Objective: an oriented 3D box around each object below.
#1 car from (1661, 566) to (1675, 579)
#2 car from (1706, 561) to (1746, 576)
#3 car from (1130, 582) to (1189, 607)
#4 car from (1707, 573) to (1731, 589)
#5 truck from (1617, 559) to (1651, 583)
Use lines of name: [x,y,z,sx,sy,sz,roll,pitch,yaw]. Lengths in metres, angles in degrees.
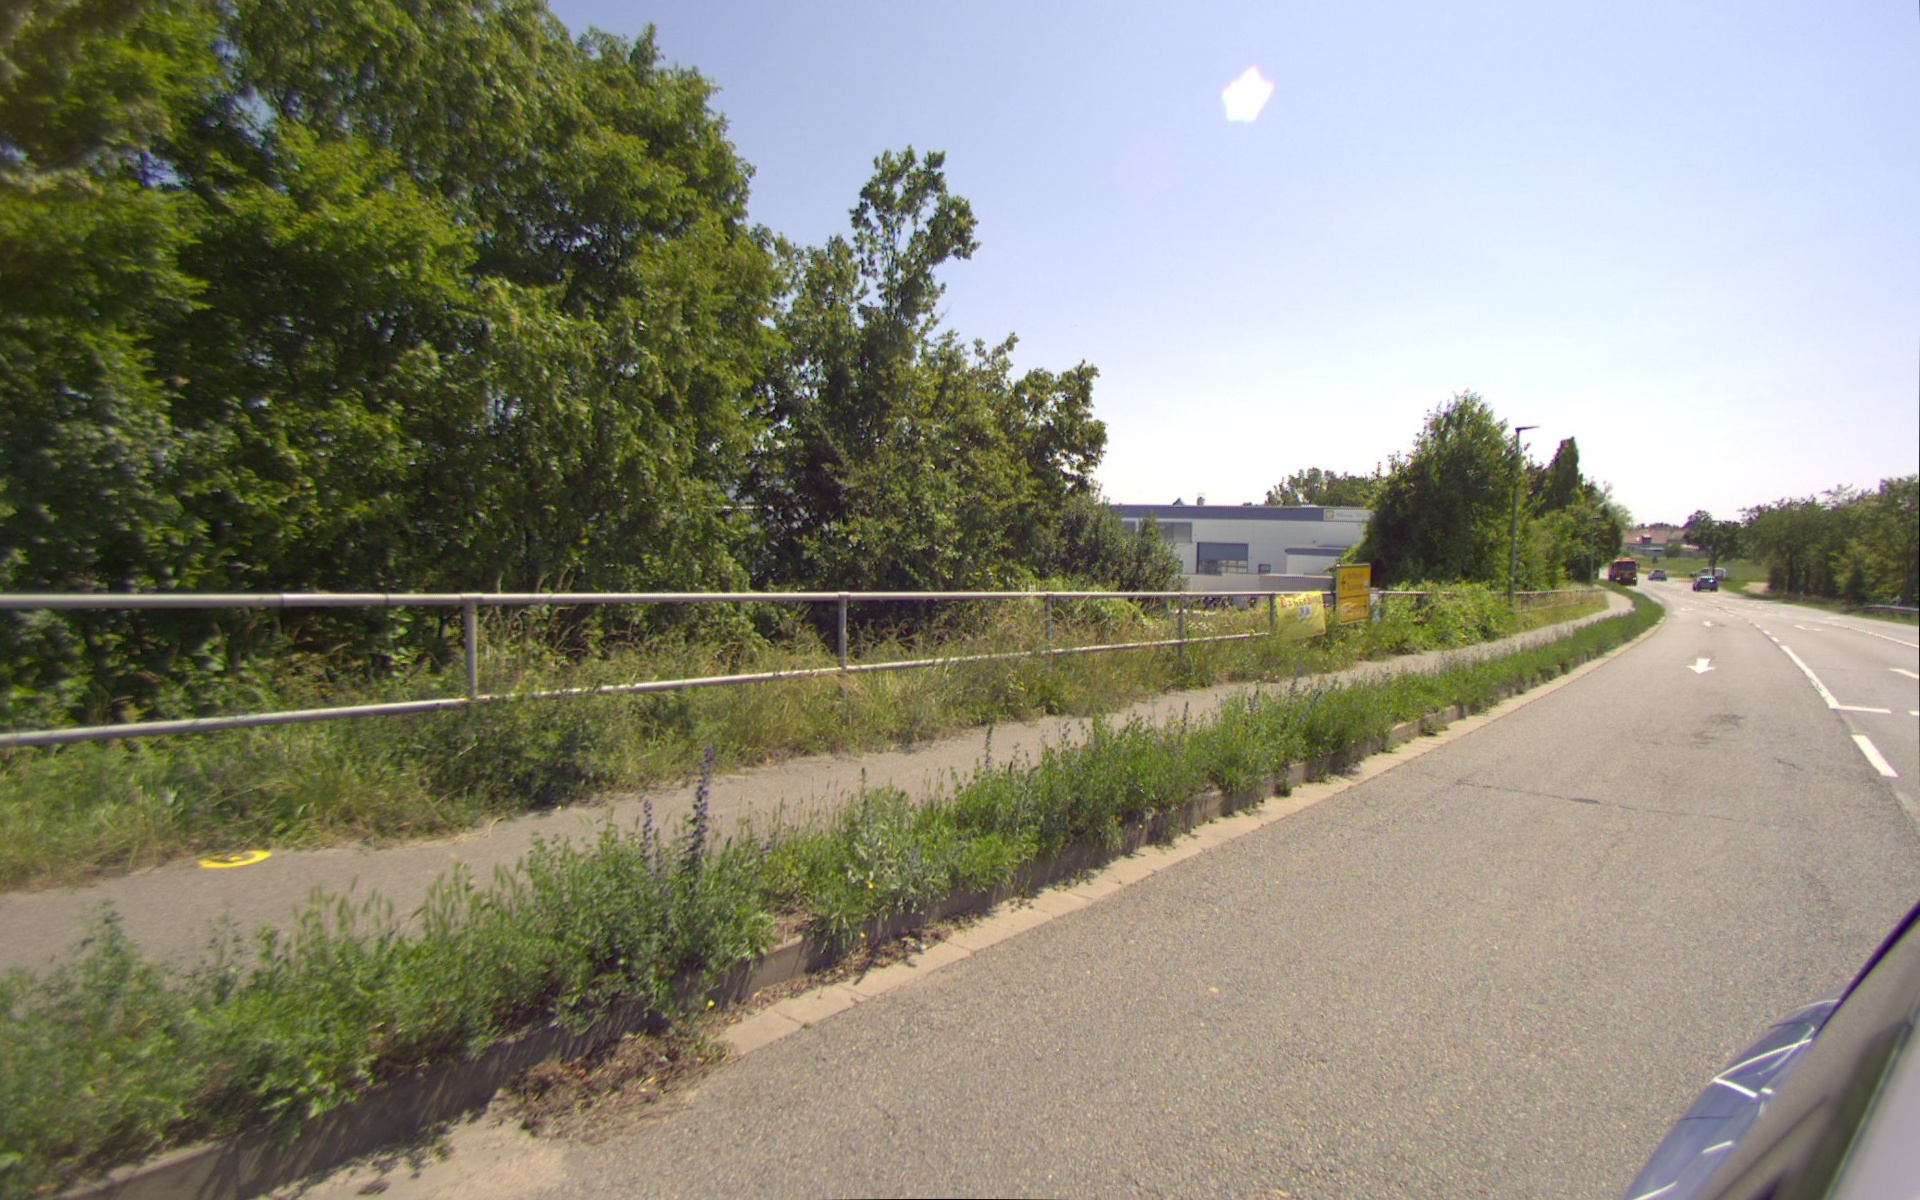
car: [96.695,-3.743,138.220,1.518,1.592,3.621,3,3,36]
car: [110.031,-4.502,145.457,4.389,2.038,1.820,3,2,36]
car: [14.959,-0.463,75.995,4.051,1.591,1.709,4,5,37]
car: [81.763,-2.058,109.041,1.787,1.603,4.434,3,2,35]
truck: [83.932,-3.671,126.075,2.838,2.821,6.891,3,3,29]
